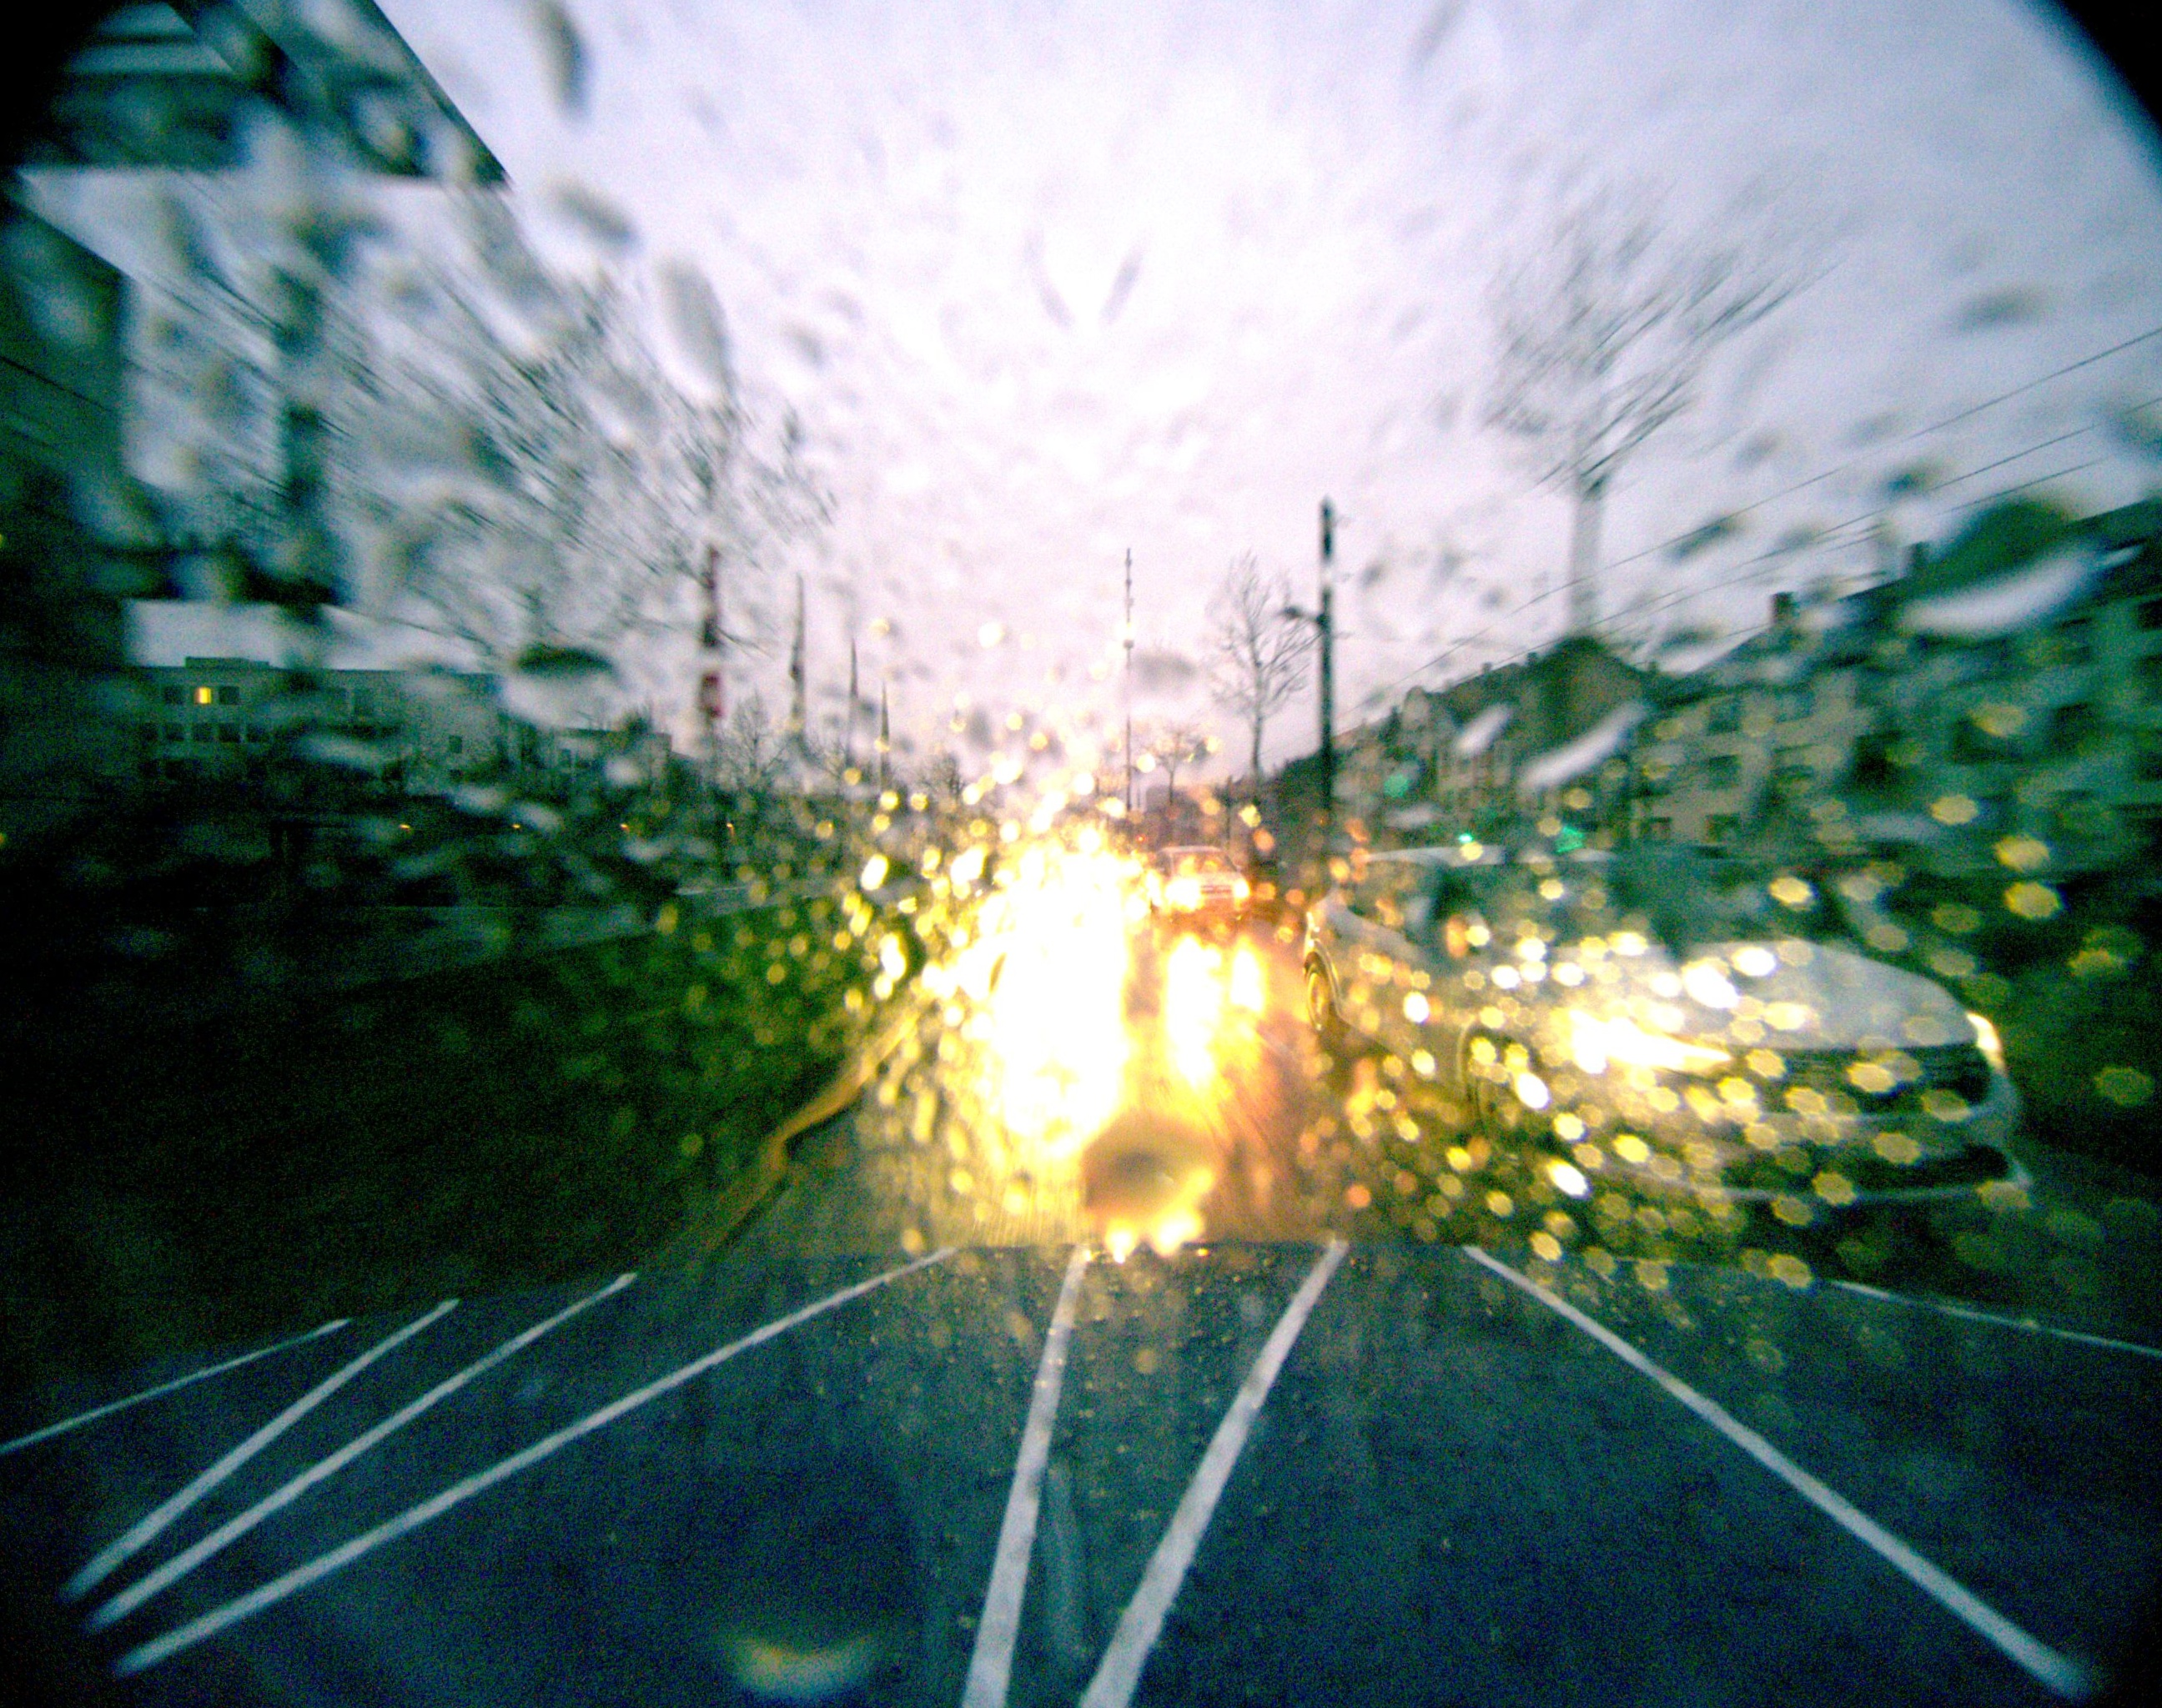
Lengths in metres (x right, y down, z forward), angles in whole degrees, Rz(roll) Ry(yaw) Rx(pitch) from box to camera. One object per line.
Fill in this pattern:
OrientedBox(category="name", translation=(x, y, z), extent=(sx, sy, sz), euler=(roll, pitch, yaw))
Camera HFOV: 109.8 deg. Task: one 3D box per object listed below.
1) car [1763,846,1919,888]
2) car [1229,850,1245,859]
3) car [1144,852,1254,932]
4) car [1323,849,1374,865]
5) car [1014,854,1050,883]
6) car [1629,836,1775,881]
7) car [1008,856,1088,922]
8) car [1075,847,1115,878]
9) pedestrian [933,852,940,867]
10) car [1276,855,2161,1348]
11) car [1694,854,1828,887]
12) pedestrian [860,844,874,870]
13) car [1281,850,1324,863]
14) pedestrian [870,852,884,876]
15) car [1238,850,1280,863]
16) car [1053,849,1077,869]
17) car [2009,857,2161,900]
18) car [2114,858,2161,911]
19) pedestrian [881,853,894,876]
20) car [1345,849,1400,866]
OrientedBox(category="car", translation=(26.743, 0.461, 26.899), extent=(3.571, 1.301, 1.689), euler=(-2, 1, 29))
OrientedBox(category="car", translation=(22.676, 0.075, 110.371), extent=(1.469, 1.332, 3.909), euler=(-2, 1, -1))
OrientedBox(category="car", translation=(2.480, 0.736, 16.909), extent=(1.638, 1.510, 3.906), euler=(-2, 1, -2))
OrientedBox(category="car", translation=(24.097, 0.281, 68.522), extent=(4.034, 1.223, 1.350), euler=(-4, 2, 33))
OrientedBox(category="car", translation=(-2.537, 0.702, 39.285), extent=(1.737, 1.311, 3.802), euler=(-2, 1, -4))
OrientedBox(category="car", translation=(26.778, 0.206, 32.999), extent=(4.647, 1.713, 1.836), euler=(-2, 1, 30))
OrientedBox(category="car", translation=(-0.828, 0.758, 18.198), extent=(1.670, 1.325, 3.785), euler=(-2, 1, -4))
OrientedBox(category="car", translation=(0.676, 0.430, 39.584), extent=(1.905, 1.475, 3.655), euler=(-2, 1, -1))
OrientedBox(category="pedestrian", translation=(-15.466, 0.563, 81.448), extent=(0.669, 1.646, 0.993), euler=(0, 1, -9))
OrientedBox(category="car", translation=(2.606, 0.782, 4.426), extent=(1.693, 1.466, 3.999), euler=(-2, 1, -3))
OrientedBox(category="car", translation=(26.263, 0.646, 29.508), extent=(3.563, 1.134, 1.740), euler=(-2, 0, 29))
OrientedBox(category="pedestrian", translation=(-15.234, 0.200, 54.049), extent=(0.674, 1.767, 0.614), euler=(-2, 1, 10))
OrientedBox(category="car", translation=(24.459, 0.267, 83.949), extent=(4.254, 1.250, 1.837), euler=(-2, 1, 37))
OrientedBox(category="pedestrian", translation=(-13.983, 0.709, 52.119), extent=(0.674, 1.616, 0.615), euler=(-2, 1, 12))
OrientedBox(category="car", translation=(21.852, 0.342, 93.172), extent=(4.651, 1.423, 1.697), euler=(-2, 1, 32))
OrientedBox(category="car", translation=(-1.181, 0.354, 54.252), extent=(1.538, 1.347, 3.545), euler=(-2, 1, -4))
OrientedBox(category="car", translation=(26.815, 0.652, 20.173), extent=(2.386, 1.042, 1.439), euler=(-2, 0, 29))
OrientedBox(category="car", translation=(26.955, 0.656, 17.238), extent=(3.811, 1.165, 1.741), euler=(-2, 1, 36))
OrientedBox(category="pedestrian", translation=(-13.786, 0.729, 54.174), extent=(0.674, 1.603, 0.615), euler=(-2, 1, 10))
OrientedBox(category="car", translation=(24.992, 0.326, 65.214), extent=(4.095, 1.154, 1.714), euler=(-4, 2, 35))
